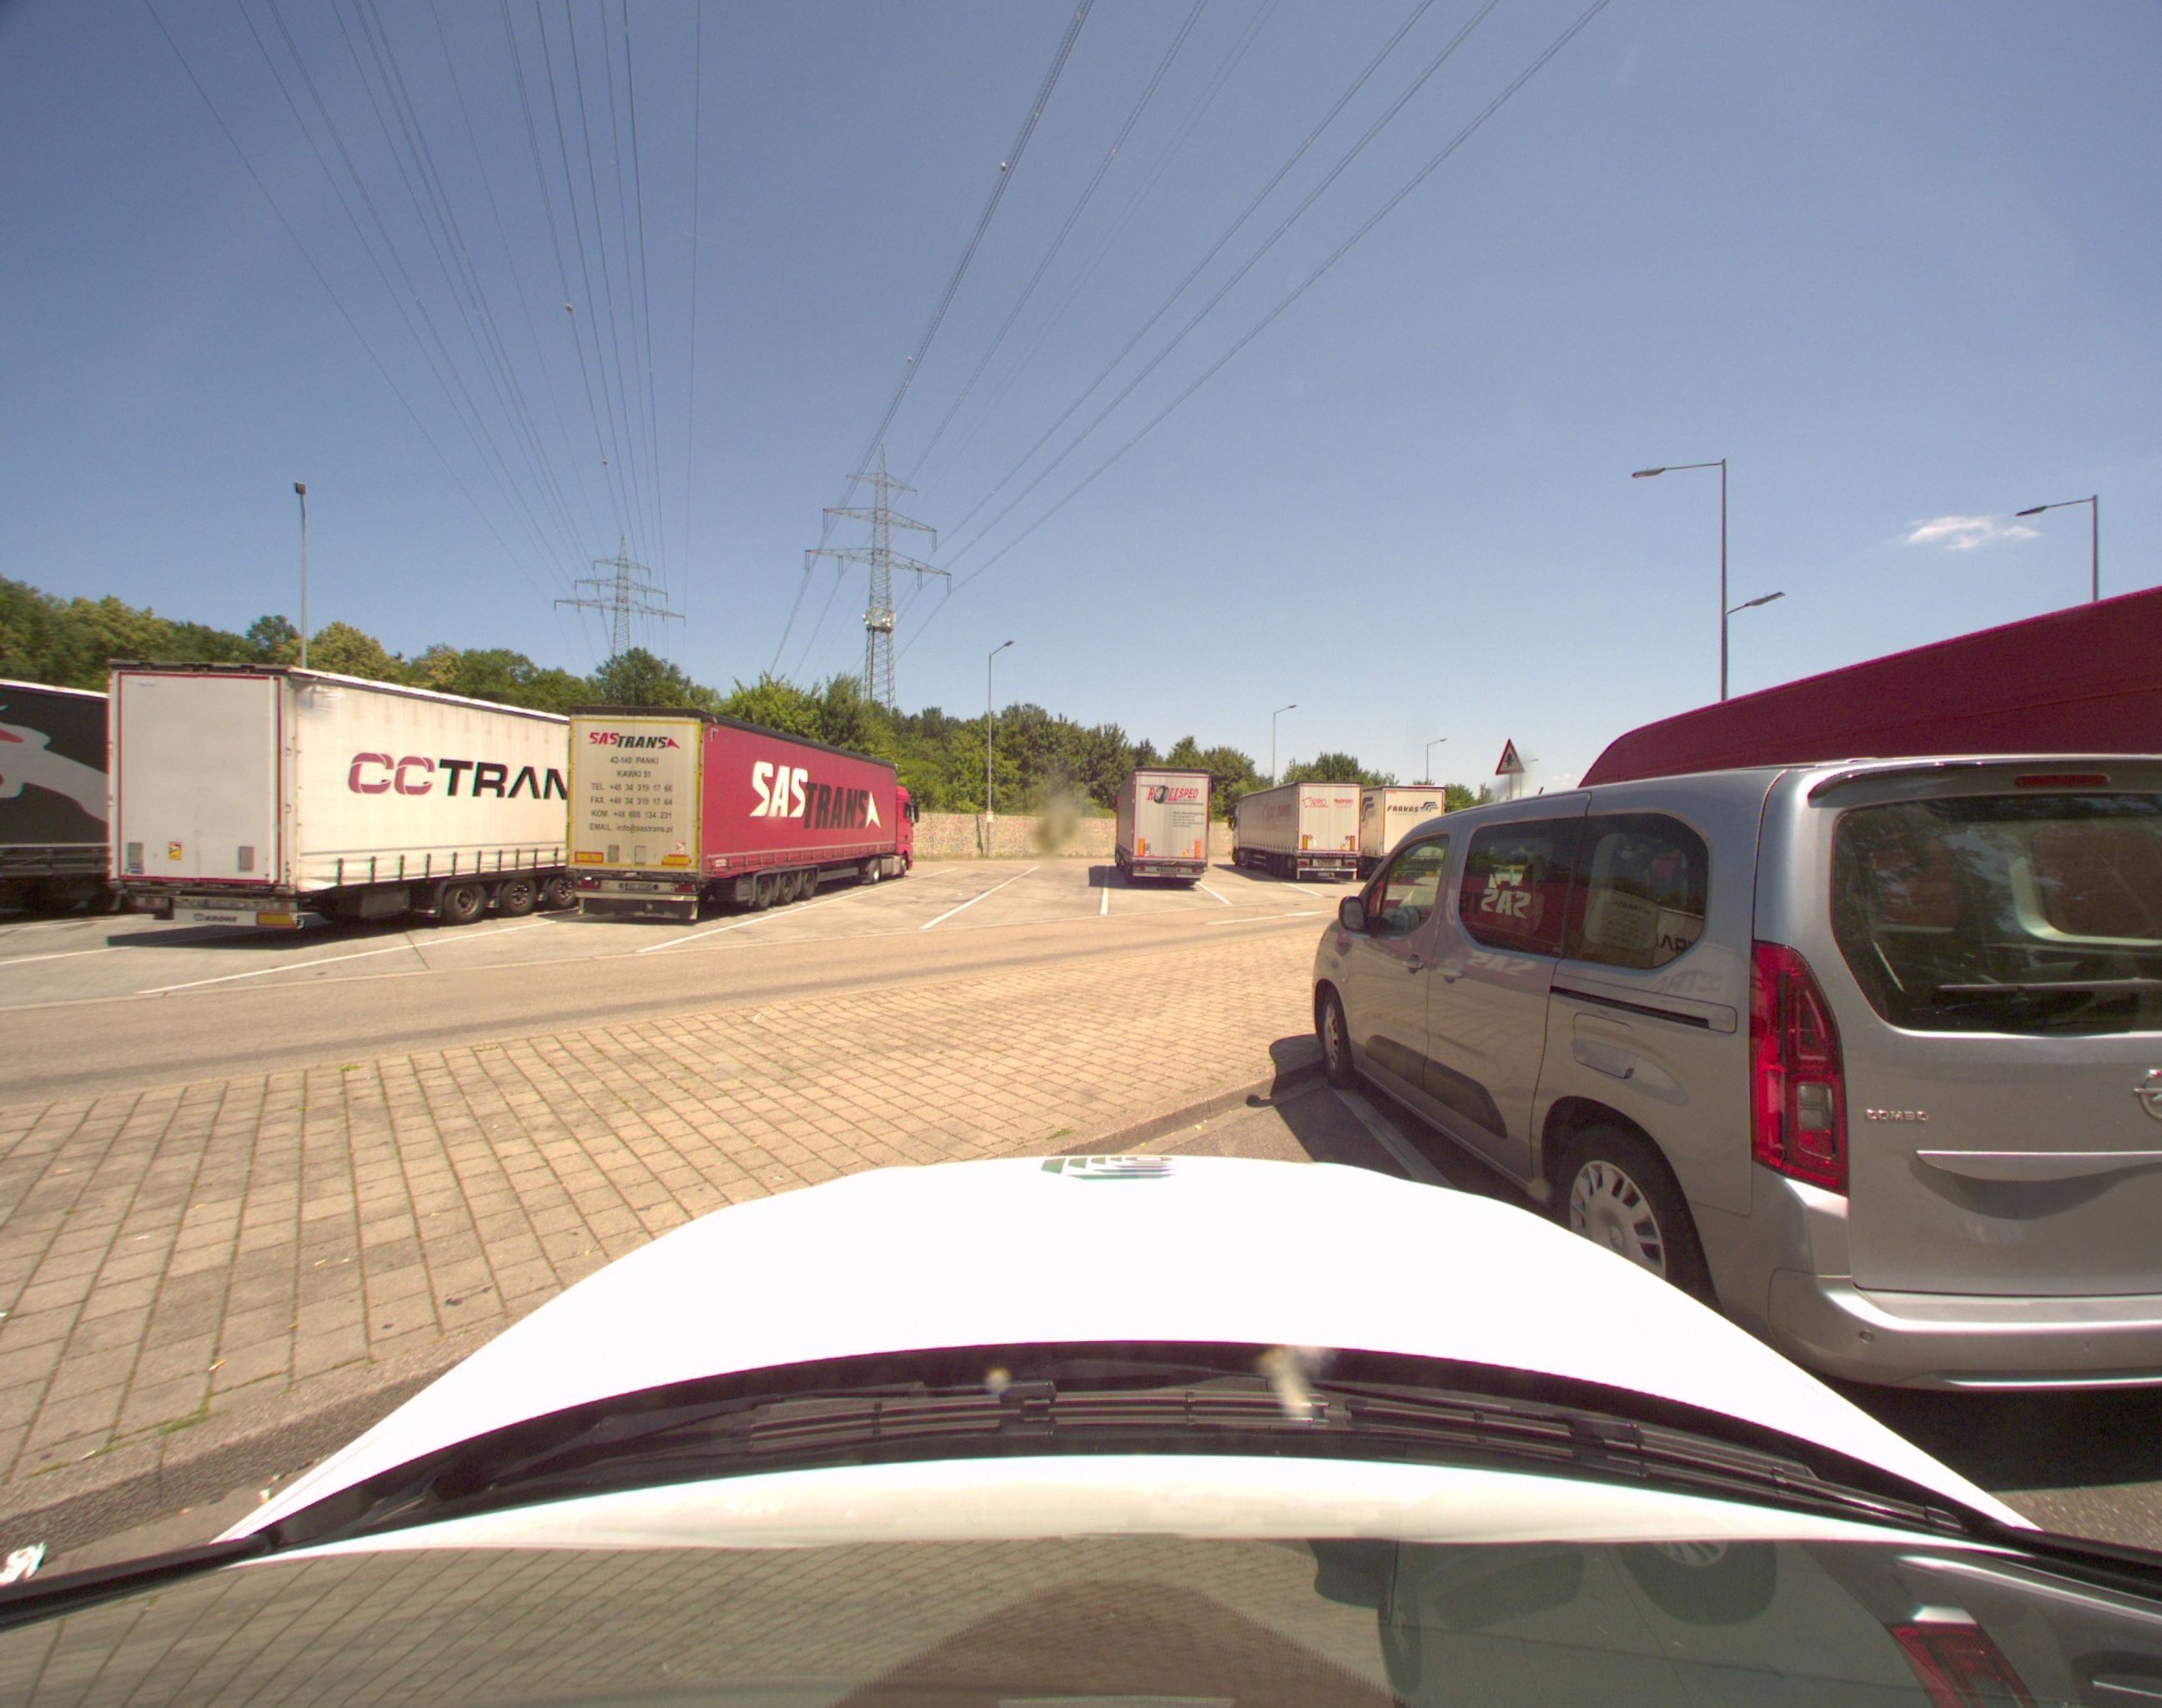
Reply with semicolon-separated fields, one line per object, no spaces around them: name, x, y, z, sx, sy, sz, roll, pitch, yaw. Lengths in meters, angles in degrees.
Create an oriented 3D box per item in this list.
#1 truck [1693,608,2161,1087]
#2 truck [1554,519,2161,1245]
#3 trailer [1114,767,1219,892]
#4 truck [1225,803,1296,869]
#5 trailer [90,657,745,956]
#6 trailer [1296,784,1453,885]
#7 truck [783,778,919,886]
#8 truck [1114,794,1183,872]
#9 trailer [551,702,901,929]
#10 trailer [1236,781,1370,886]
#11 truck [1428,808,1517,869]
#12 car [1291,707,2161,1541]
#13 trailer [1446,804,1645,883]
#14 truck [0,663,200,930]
truck;7.991;-0.034;6.488;2.444;2.912;5.663;-1;-1;7
truck;5.136;0.121;4.940;1.968;2.622;5.314;0;-1;7
trailer;3.064;-1.062;33.729;3.122;3.989;14.401;1;2;1
truck;10.192;-1.072;46.778;2.852;3.521;5.903;1;2;2
trailer;-12.128;-0.908;18.369;2.785;4.084;14.139;1;2;2
trailer;13.603;-1.034;39.640;2.801;3.989;14.403;1;2;2
truck;-7.815;-0.782;28.508;2.840;3.327;5.903;1;2;2
truck;3.230;-1.078;40.623;3.092;3.566;5.903;1;2;2
trailer;-8.063;-0.945;21.938;2.781;4.084;14.139;1;2;2
trailer;9.930;-1.042;38.677;2.801;3.989;14.403;1;2;2
truck;24.356;-1.003;51.018;2.792;3.521;5.903;1;2;2
car;2.489;0.576;3.916;1.864;1.863;4.176;1;1;0
trailer;24.100;-0.732;43.787;2.801;3.507;14.403;1;2;2
truck;-18.540;-0.966;13.817;2.726;4.239;3.997;1;2;2
